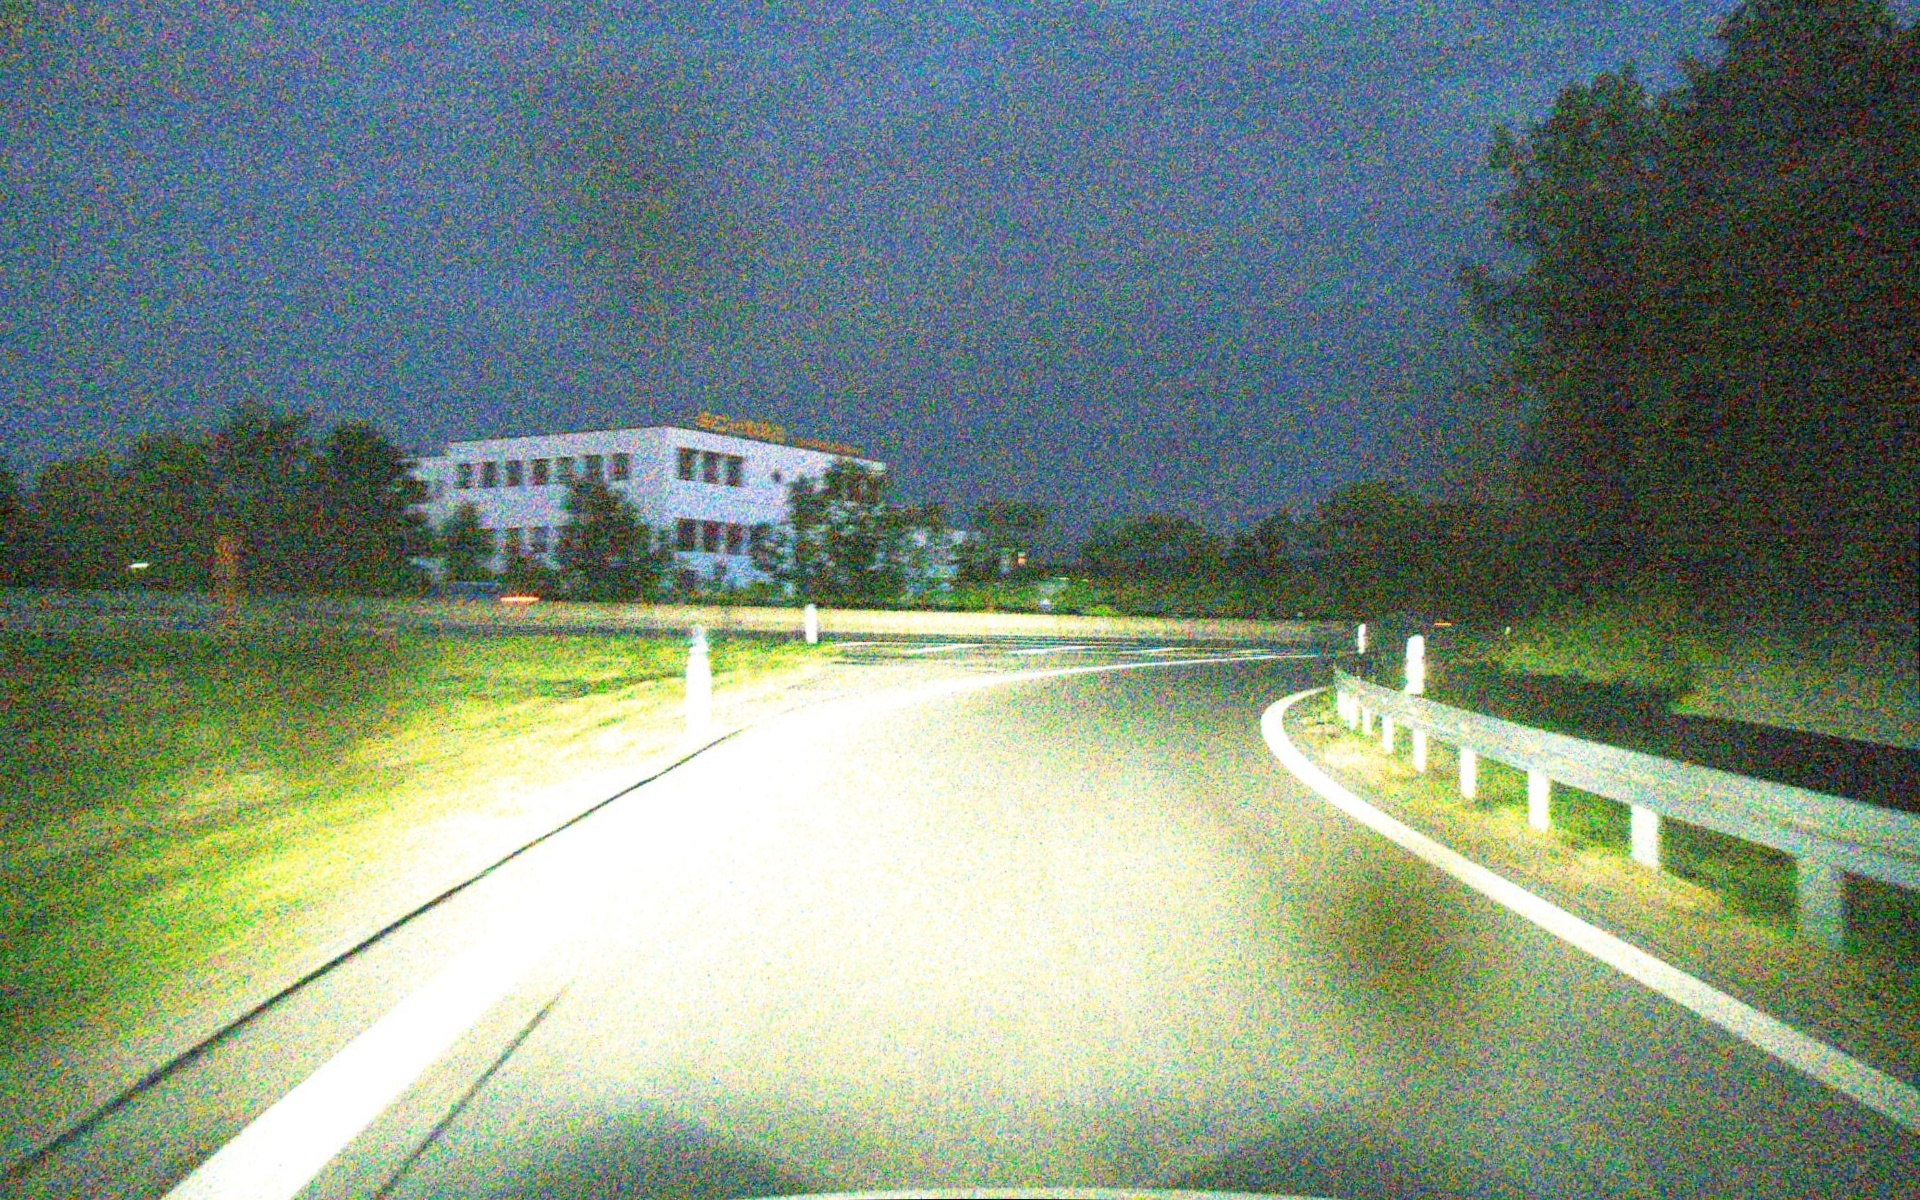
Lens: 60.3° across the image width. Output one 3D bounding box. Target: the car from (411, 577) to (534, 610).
[{"bbox_3d":[-17.613,-0.227,59.815,3.957,1.077,1.544,2,0,-37],"label":"car"}]
